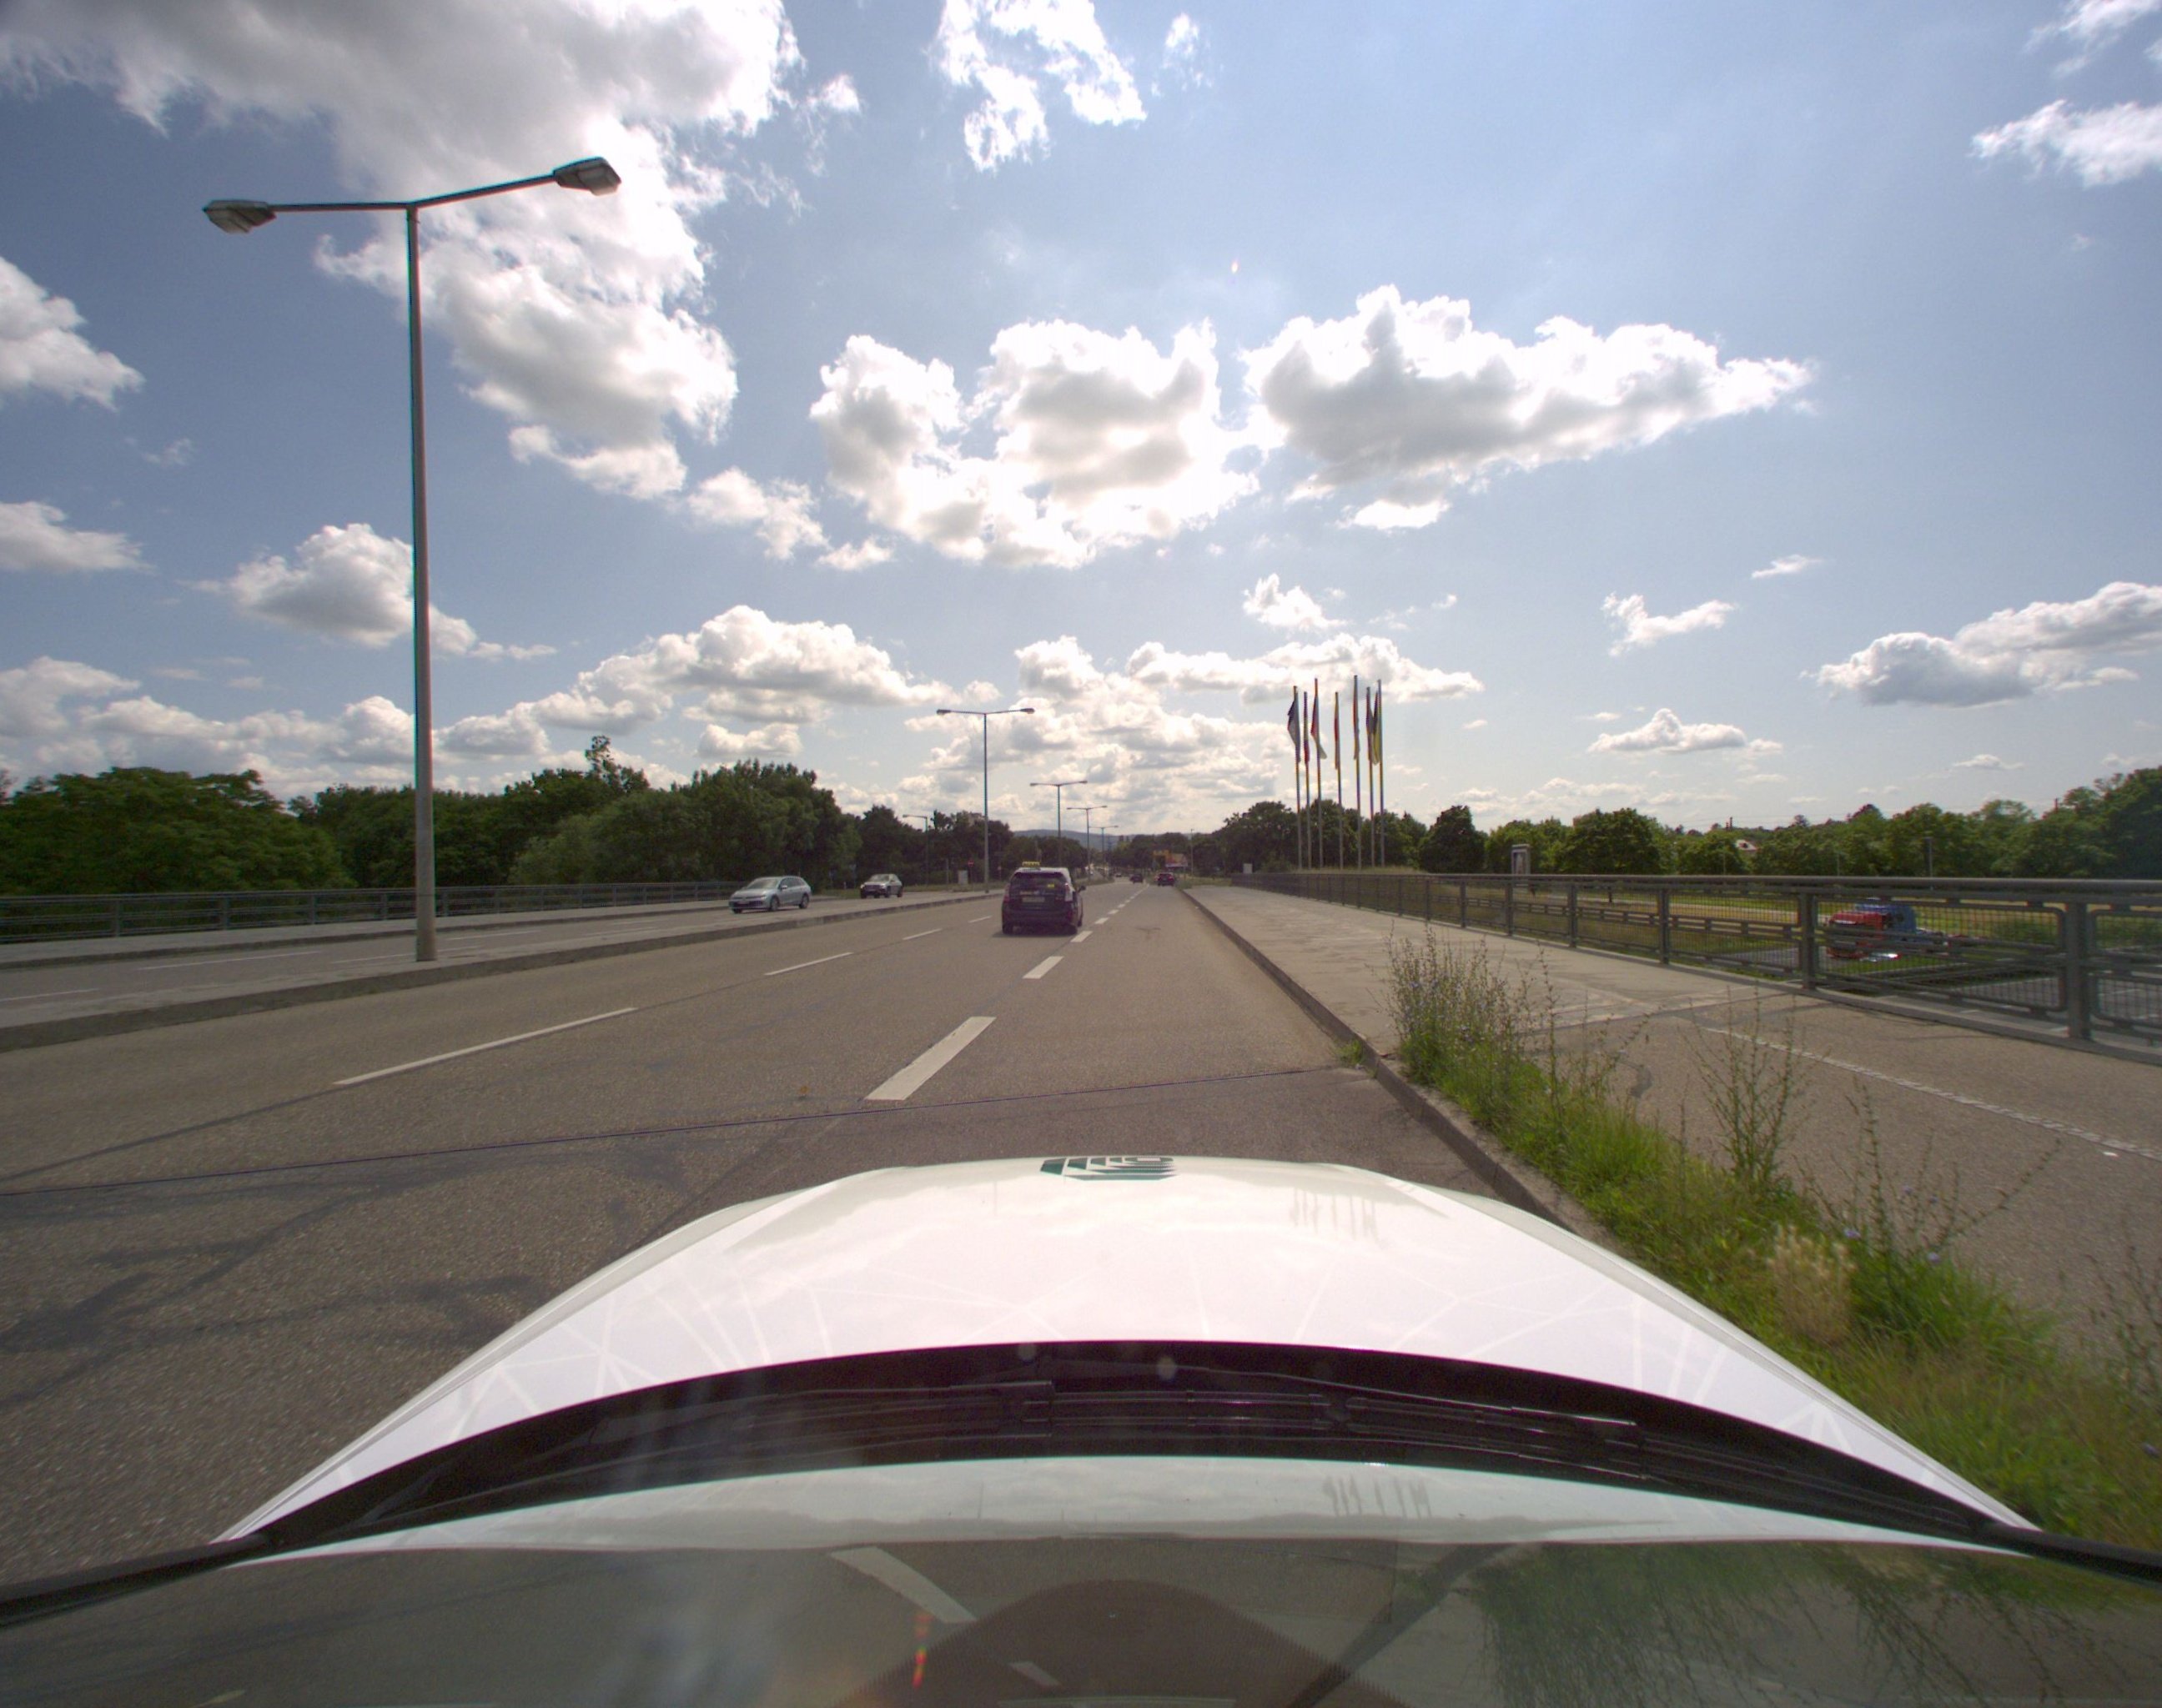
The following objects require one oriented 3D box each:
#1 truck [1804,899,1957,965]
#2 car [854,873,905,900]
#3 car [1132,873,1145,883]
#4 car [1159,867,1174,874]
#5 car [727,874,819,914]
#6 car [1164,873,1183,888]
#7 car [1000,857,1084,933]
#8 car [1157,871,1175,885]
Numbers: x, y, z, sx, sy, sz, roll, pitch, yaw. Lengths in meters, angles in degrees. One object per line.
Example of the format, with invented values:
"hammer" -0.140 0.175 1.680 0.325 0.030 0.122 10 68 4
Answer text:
"truck" 59.953 5.697 61.101 9.619 4.403 3.996 1 0 -16
"car" -13.671 2.191 55.567 2.079 1.626 4.554 1 0 3
"car" 9.938 4.181 140.857 1.986 1.662 4.002 1 0 2
"car" 19.774 3.841 187.949 1.998 1.662 3.977 1 0 -17
"car" -12.996 1.642 34.663 1.655 1.413 4.558 -3 -1 7
"car" 11.055 3.105 97.587 1.986 1.662 4.002 1 0 2
"car" -0.873 0.930 20.212 1.773 1.684 4.001 1 0 1
"car" 10.700 3.065 102.958 1.986 1.662 4.002 1 0 2
